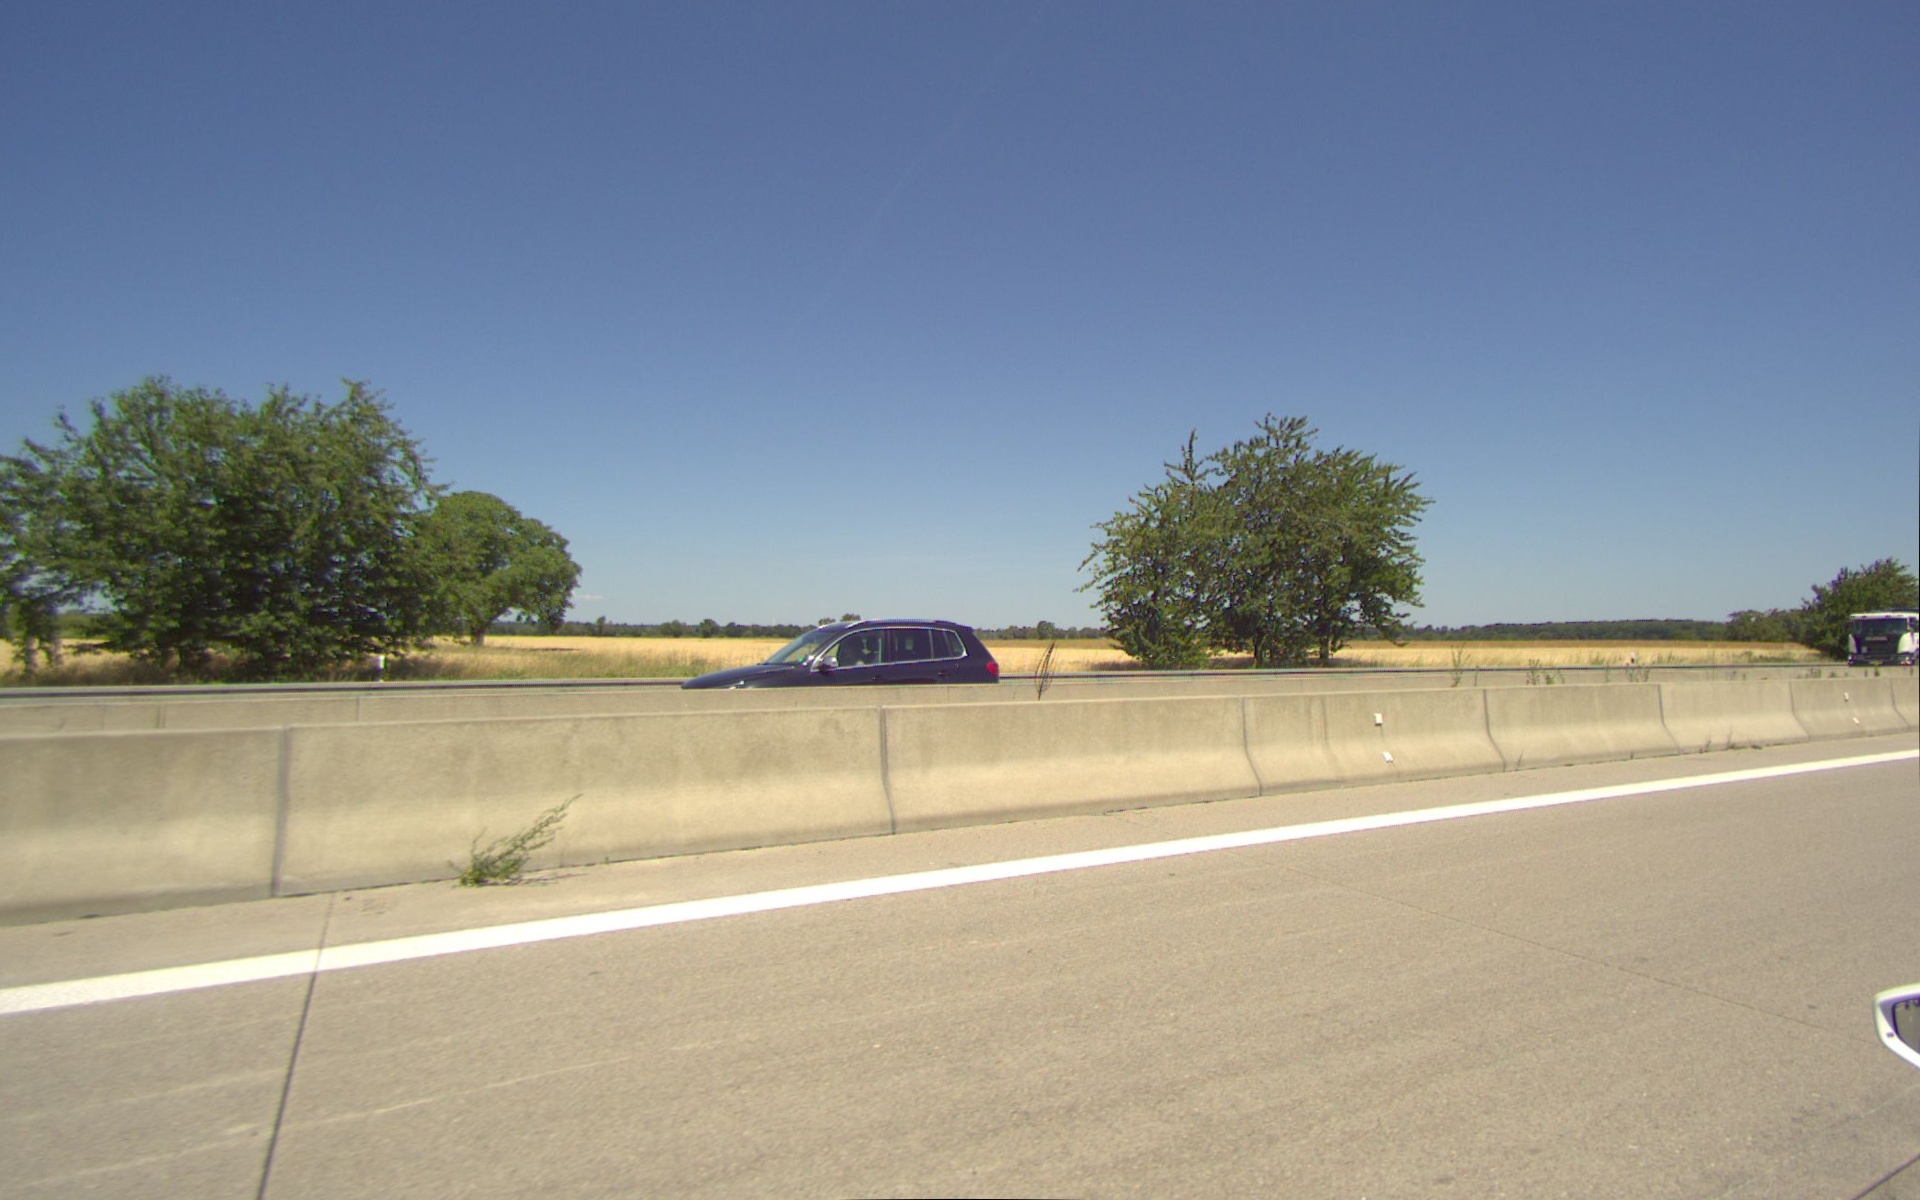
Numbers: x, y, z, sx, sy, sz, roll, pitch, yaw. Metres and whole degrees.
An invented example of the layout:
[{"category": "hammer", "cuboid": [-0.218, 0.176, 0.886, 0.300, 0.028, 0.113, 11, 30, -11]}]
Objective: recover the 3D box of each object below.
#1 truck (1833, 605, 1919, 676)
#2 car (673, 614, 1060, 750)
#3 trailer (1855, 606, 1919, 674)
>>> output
[{"category": "truck", "cuboid": [46.568, 1.972, 50.211, 5.548, 3.348, 2.793, 1, 0, -30]}, {"category": "car", "cuboid": [-1.159, 0.966, 13.110, 4.628, 1.467, 1.984, 2, 0, -30]}, {"category": "trailer", "cuboid": [50.667, 2.085, 52.639, 9.352, 3.348, 2.814, 2, 0, -30]}]
